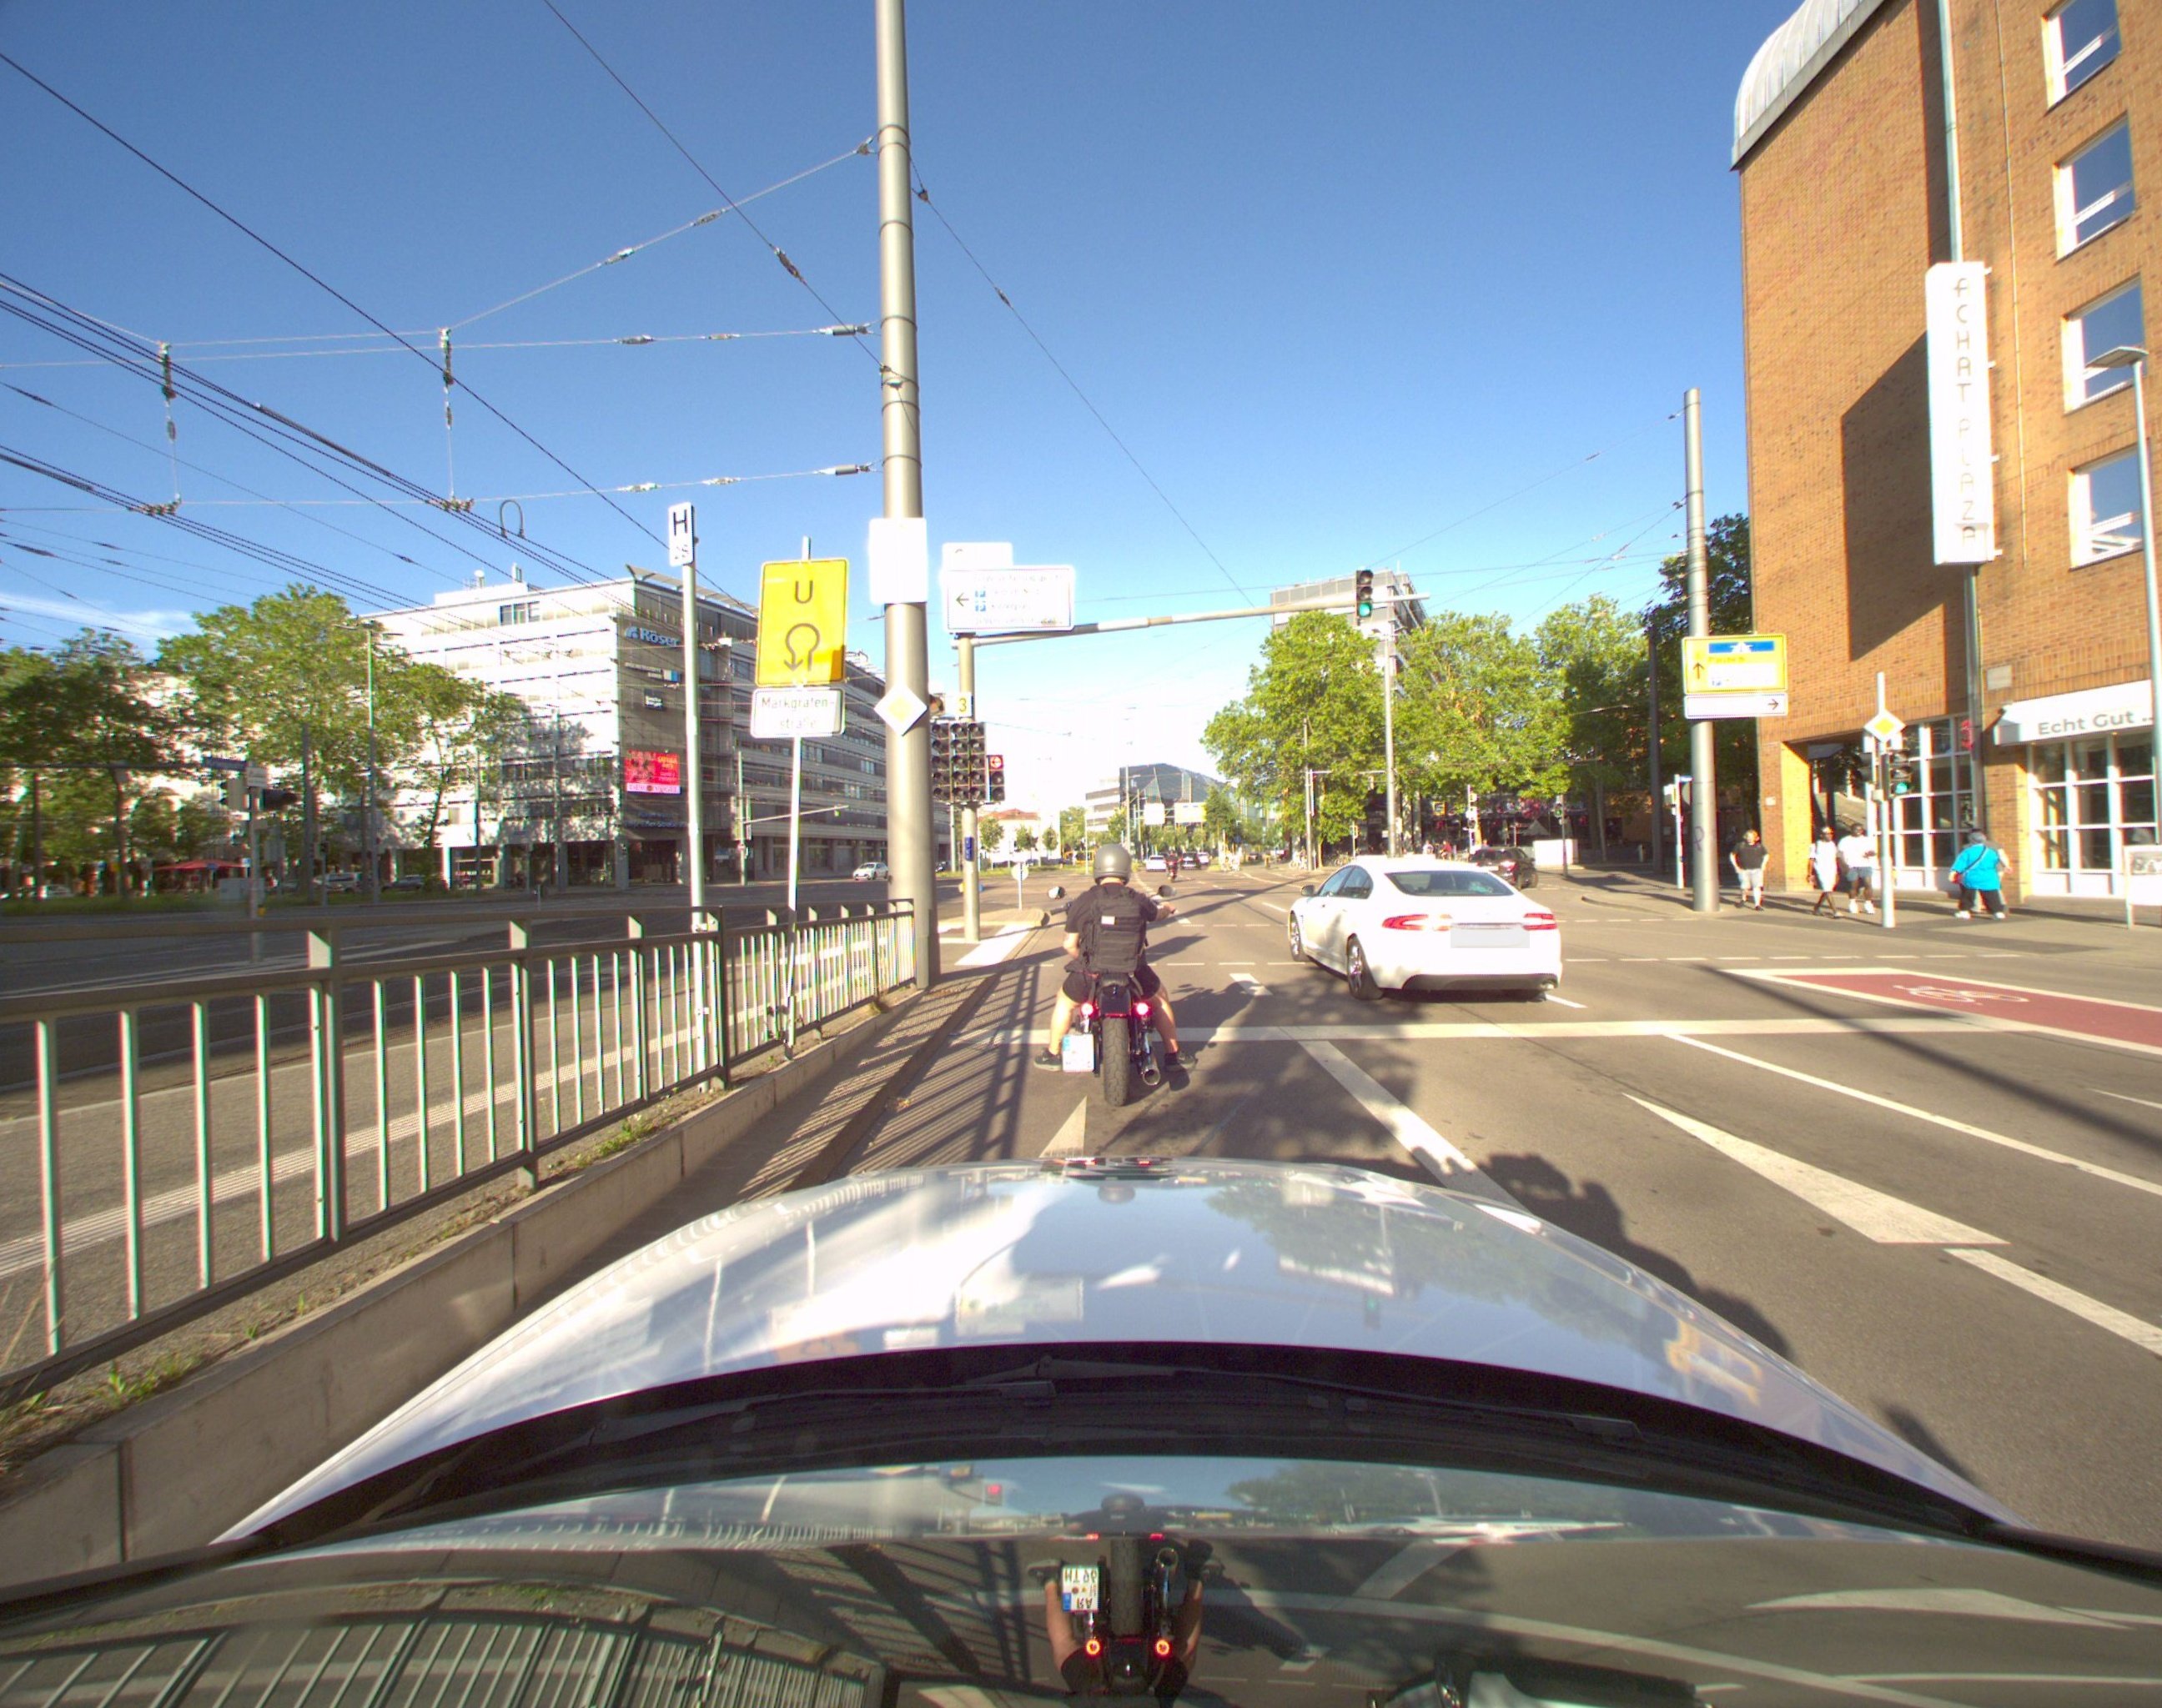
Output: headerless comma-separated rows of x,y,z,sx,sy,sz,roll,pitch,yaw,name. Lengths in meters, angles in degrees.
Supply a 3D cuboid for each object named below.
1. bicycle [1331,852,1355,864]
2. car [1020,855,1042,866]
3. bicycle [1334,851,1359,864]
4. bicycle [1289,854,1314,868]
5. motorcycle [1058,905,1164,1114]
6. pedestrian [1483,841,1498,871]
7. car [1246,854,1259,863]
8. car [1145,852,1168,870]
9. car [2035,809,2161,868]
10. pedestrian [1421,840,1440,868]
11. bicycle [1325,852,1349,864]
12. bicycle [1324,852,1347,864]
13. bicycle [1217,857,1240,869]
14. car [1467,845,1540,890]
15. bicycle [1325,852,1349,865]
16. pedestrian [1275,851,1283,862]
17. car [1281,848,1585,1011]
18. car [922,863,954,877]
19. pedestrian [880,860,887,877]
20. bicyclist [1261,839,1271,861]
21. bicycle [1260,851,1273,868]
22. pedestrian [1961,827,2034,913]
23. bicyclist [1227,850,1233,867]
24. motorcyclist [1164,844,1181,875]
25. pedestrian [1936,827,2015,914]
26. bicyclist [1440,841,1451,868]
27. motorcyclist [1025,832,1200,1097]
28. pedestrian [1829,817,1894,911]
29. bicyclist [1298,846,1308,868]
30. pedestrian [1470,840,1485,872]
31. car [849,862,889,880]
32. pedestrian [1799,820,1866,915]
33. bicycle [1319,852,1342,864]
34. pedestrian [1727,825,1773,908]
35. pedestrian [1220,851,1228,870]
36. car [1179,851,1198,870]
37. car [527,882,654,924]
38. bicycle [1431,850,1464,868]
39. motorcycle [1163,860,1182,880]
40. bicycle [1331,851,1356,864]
21.549,0.329,66.978,1.874,1.046,0.360,0,-1,1,bicycle
-6.817,0.896,110.519,1.736,1.524,4.016,-1,-1,16,car
21.341,0.284,65.384,1.874,1.046,0.360,0,-1,1,bicycle
17.559,0.564,64.981,1.854,1.044,0.540,-1,-1,20,bicycle
0.206,0.954,5.743,0.598,1.036,2.235,0,0,2,motorcycle
19.919,0.106,39.622,0.561,1.479,0.706,-1,-1,22,pedestrian
31.827,0.859,150.969,1.789,1.678,4.059,0,-1,18,car
6.597,0.622,71.770,1.725,1.457,4.419,0,-1,2,car
37.250,-0.541,28.677,4.415,2.009,1.821,0,0,35,car
21.279,0.012,49.656,0.829,1.704,0.760,0,-1,2,pedestrian
21.563,0.350,68.653,1.874,1.046,0.360,0,0,1,bicycle
21.583,0.350,69.153,1.874,1.046,0.360,0,0,1,bicycle
12.159,0.754,66.945,1.823,0.925,0.357,0,-1,-7,bicycle
14.775,0.412,28.367,1.715,1.450,4.067,-1,0,35,car
21.441,0.356,68.168,1.874,1.046,0.360,0,-1,1,bicycle
21.978,0.281,90.378,0.814,1.314,0.640,-1,-1,11,pedestrian
3.724,0.687,9.588,1.796,1.430,4.456,-2,0,2,car
-15.401,1.703,87.806,1.812,1.430,4.256,-1,-1,13,car
-23.904,1.725,98.586,0.628,2.014,0.754,0,-1,2,pedestrian
15.227,-0.306,66.992,0.693,1.808,0.730,0,-1,6,bicyclist
15.235,0.450,66.879,0.722,1.367,2.922,0,-1,6,bicycle
16.333,0.287,14.523,0.590,1.476,0.552,-2,-1,2,pedestrian
12.279,0.393,66.968,0.380,1.373,0.344,0,-1,-7,bicyclist
4.736,0.292,42.257,0.793,1.580,0.529,0,-1,1,motorcyclist
15.631,0.290,14.245,0.590,1.452,0.601,-4,-1,2,pedestrian
25.126,0.040,56.156,0.582,1.837,0.403,0,-1,1,bicyclist
0.206,0.675,5.415,1.027,1.593,0.874,-2,0,1,motorcyclist
15.328,0.196,16.015,0.588,1.780,0.684,-3,-1,13,pedestrian
17.706,0.244,64.933,0.682,1.673,0.544,-2,-2,21,bicyclist
19.333,0.087,39.754,0.561,1.533,0.706,-1,-1,20,pedestrian
-18.063,1.432,69.651,1.816,1.430,4.538,-2,0,6,car
14.598,0.252,15.834,0.588,1.780,0.684,-5,0,13,pedestrian
21.566,0.355,70.305,1.874,1.046,0.360,0,0,1,bicycle
14.696,0.274,17.888,0.727,1.792,0.515,-1,-1,42,pedestrian
12.030,0.535,68.422,0.587,1.557,0.488,0,-1,-6,pedestrian
10.352,0.628,78.901,1.723,1.732,4.620,0,0,6,car
-13.840,1.360,23.128,2.884,1.063,1.235,0,-1,-19,car
25.254,0.348,56.142,2.034,1.214,0.421,0,-1,2,bicycle
4.748,0.824,42.384,0.801,1.050,2.376,0,-1,2,motorcycle
21.319,0.306,66.166,1.874,1.046,0.360,0,-1,1,bicycle
